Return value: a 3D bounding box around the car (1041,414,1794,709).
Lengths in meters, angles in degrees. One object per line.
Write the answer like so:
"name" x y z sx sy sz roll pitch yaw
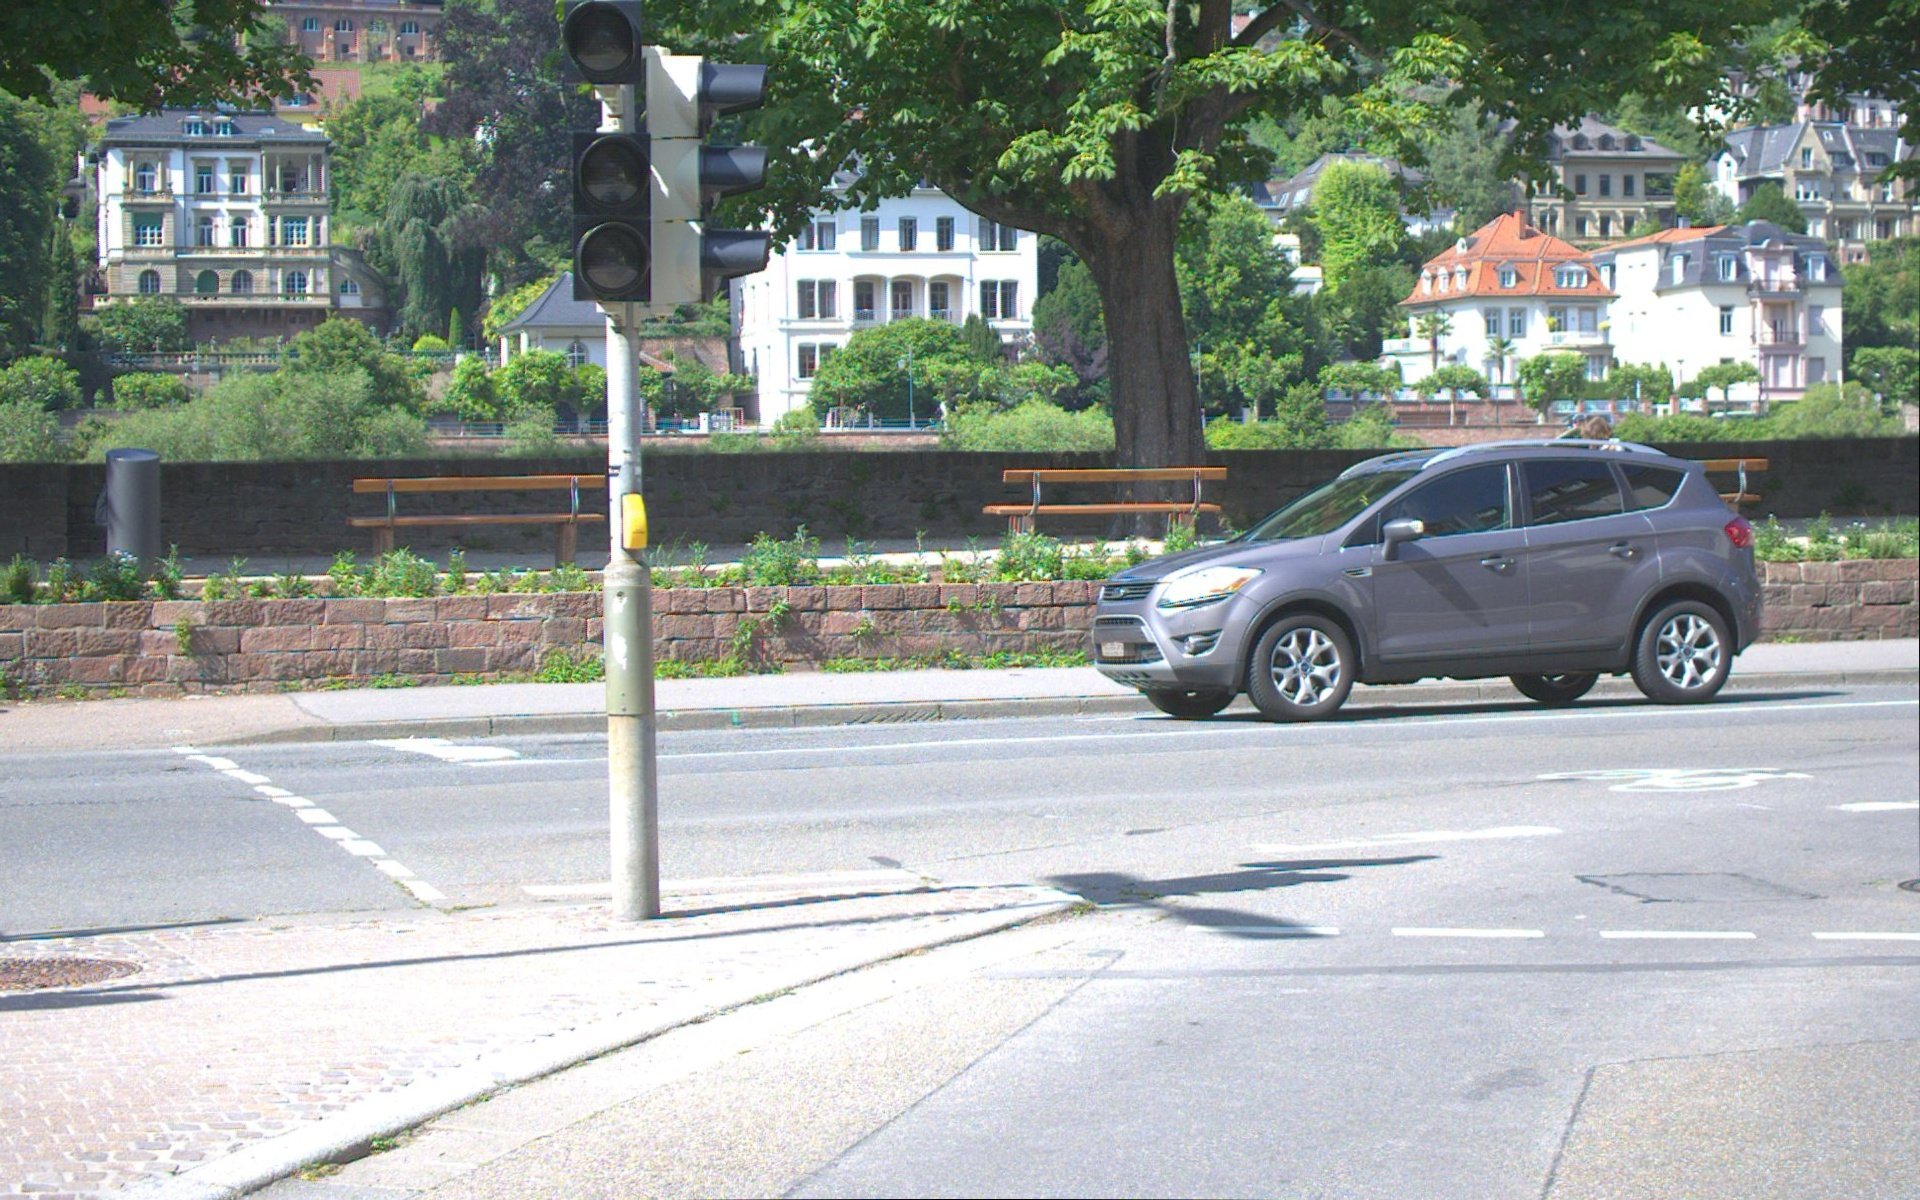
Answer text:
"car" 2.911 -0.214 21.950 4.394 1.747 1.844 0 -2 -21

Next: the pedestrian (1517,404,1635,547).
"pedestrian" 5.469 -1.100 30.561 0.797 1.207 0.715 1 -2 -16
